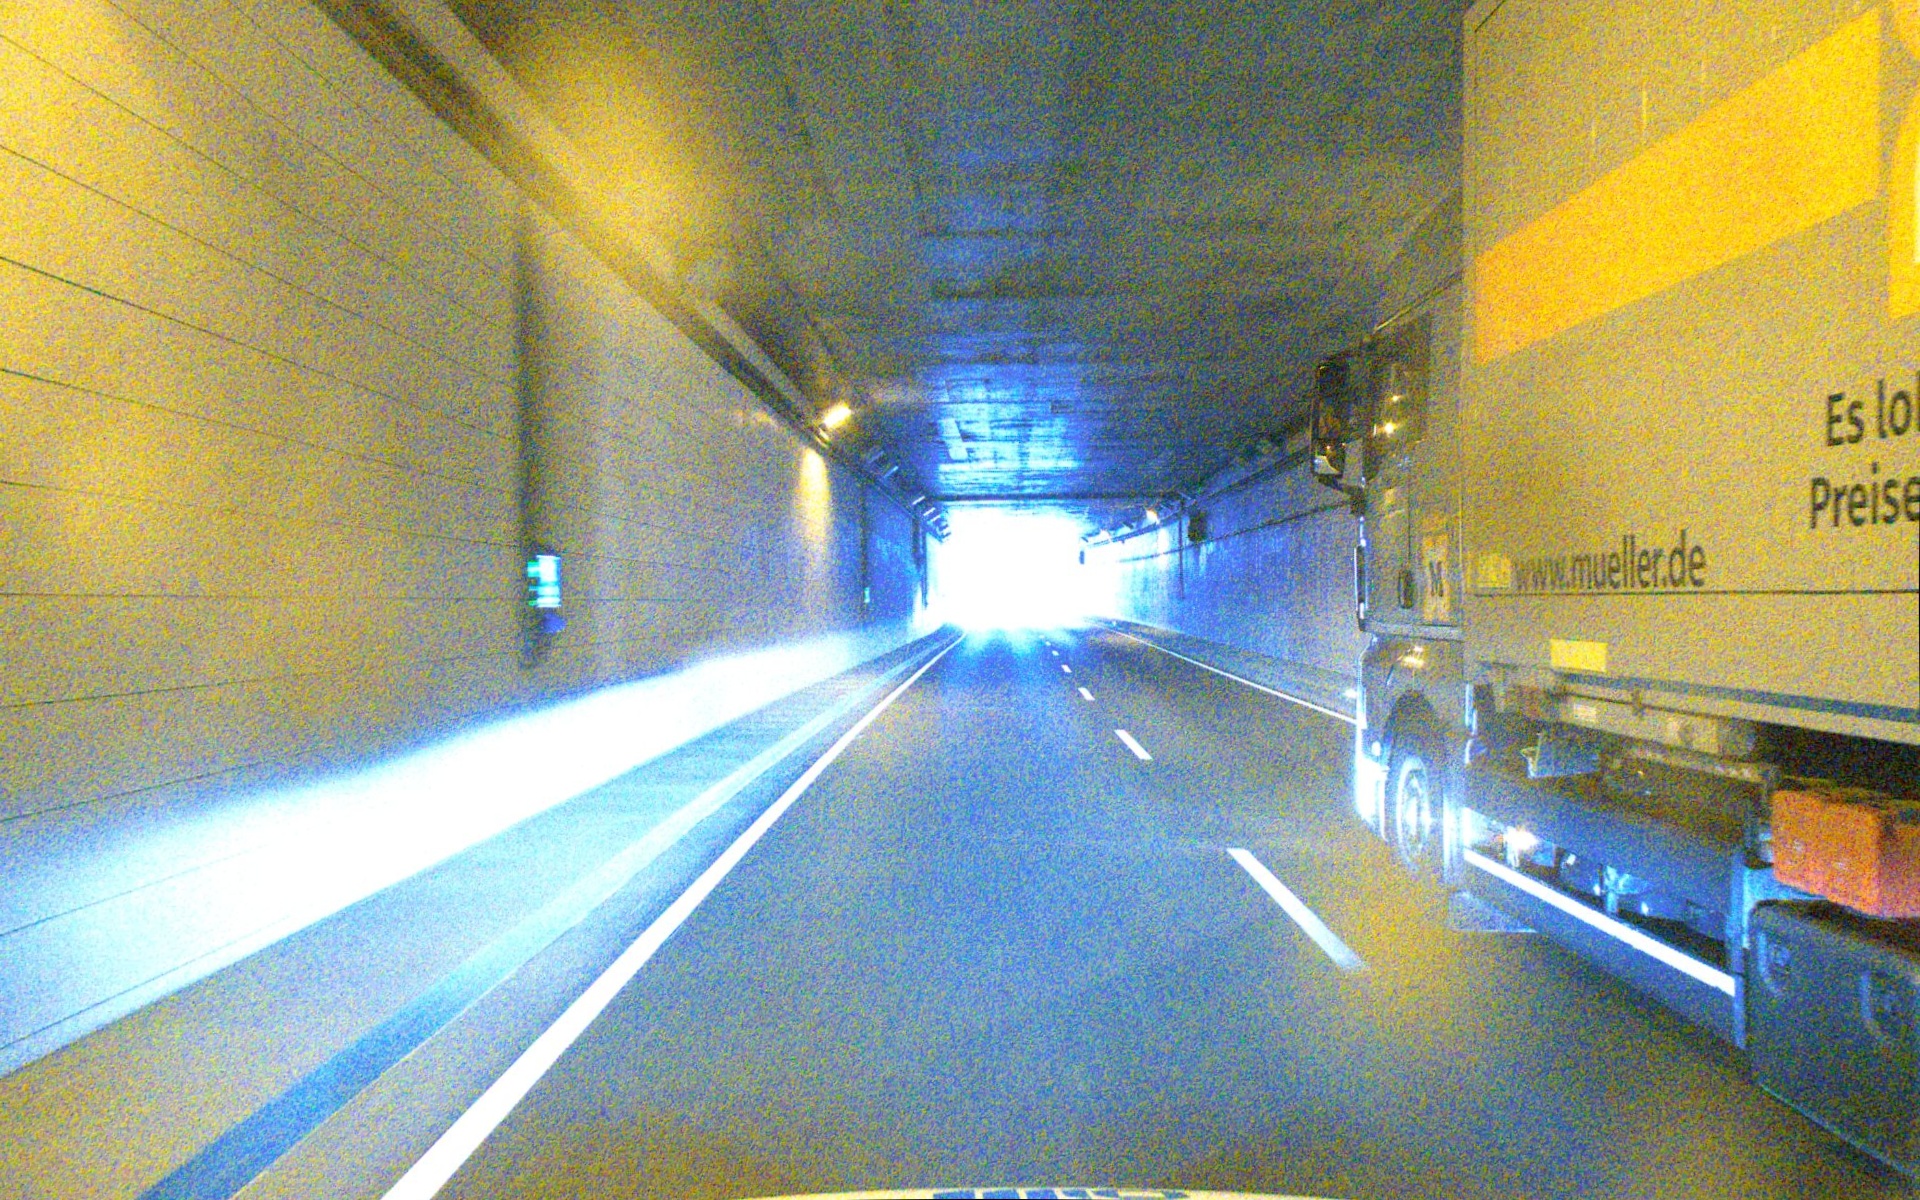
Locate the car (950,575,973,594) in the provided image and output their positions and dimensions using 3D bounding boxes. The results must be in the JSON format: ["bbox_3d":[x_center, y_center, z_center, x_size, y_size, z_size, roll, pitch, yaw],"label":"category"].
[{"bbox_3d":[0.101,-1.457,155.735,1.833,1.763,3.995,-1,0,-5],"label":"car"}]

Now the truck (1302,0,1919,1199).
[{"bbox_3d":[3.481,-0.567,4.364,2.830,3.982,9.906,-1,0,-1],"label":"truck"}]

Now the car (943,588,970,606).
[{"bbox_3d":[-0.345,-0.245,140.985,1.806,1.413,3.993,-1,0,-8],"label":"car"}]
